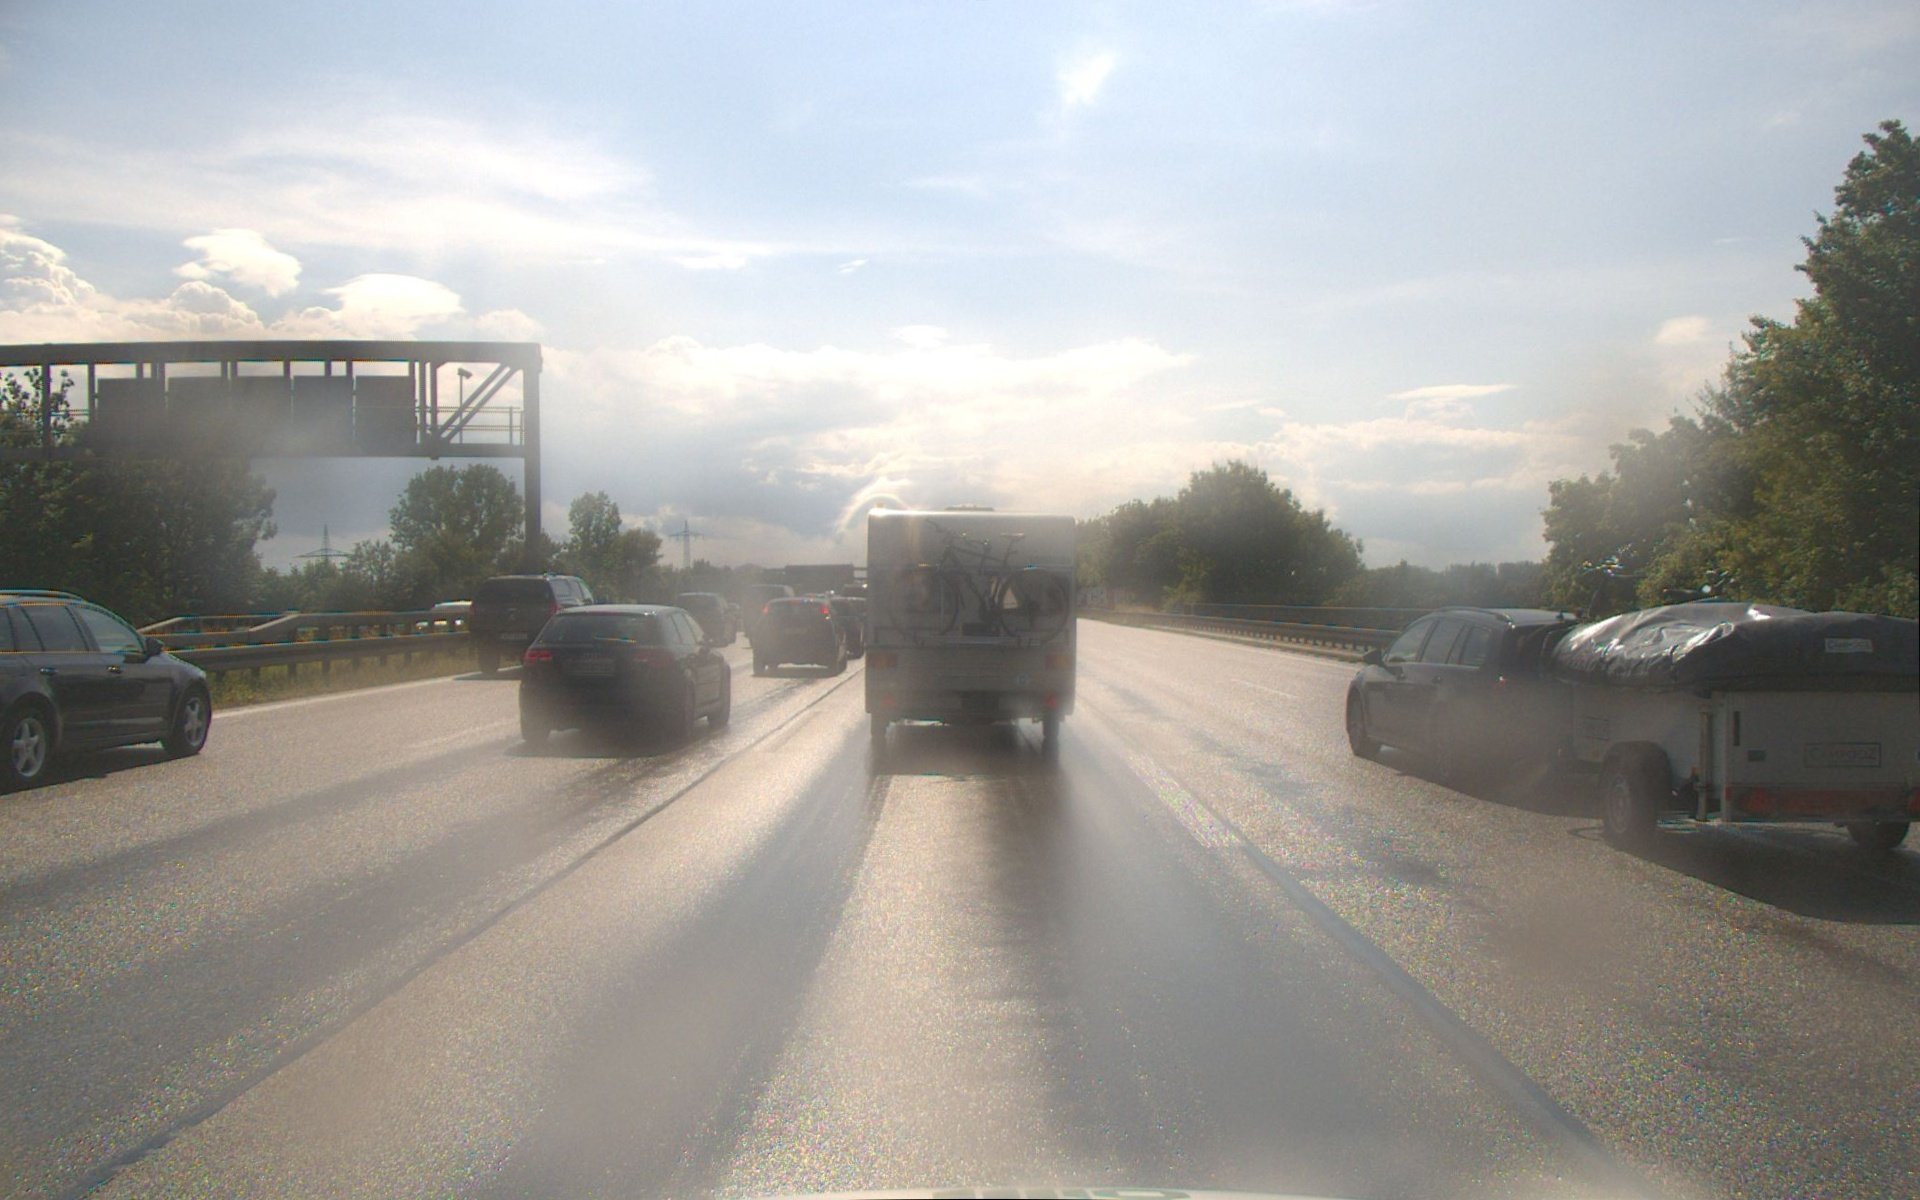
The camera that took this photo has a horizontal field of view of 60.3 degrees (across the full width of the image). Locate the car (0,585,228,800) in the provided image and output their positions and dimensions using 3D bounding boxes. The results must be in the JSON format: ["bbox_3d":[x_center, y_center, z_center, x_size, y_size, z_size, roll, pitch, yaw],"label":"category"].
[{"bbox_3d":[-7.750,0.661,13.408,1.721,1.543,4.209,0,0,0],"label":"car"}]

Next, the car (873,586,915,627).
[{"bbox_3d":[-3.387,0.322,85.548,1.952,2.049,4.000,1,0,0],"label":"car"}]

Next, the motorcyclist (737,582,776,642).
[{"bbox_3d":[-6.039,0.354,49.114,1.042,1.748,0.785,0,0,0],"label":"motorcyclist"}]

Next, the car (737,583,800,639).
[{"bbox_3d":[-7.708,0.429,66.860,1.953,2.048,4.000,4,0,0],"label":"car"}]

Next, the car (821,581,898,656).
[{"bbox_3d":[-3.002,0.532,50.153,1.953,2.048,4.000,4,0,0],"label":"car"}]

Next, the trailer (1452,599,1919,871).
[{"bbox_3d":[4.824,0.733,11.042,1.817,1.467,4.147,0,0,-1],"label":"trailer"}]

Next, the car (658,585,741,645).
[{"bbox_3d":[-8.245,0.475,52.655,1.952,1.803,4.000,1,0,0],"label":"car"}]

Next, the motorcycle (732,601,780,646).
[{"bbox_3d":[-6.043,0.693,49.136,1.052,1.293,2.690,0,0,0],"label":"motorcycle"}]

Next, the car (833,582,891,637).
[{"bbox_3d":[-3.786,0.358,64.711,1.953,2.049,4.000,2,0,0],"label":"car"}]

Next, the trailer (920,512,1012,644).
[{"bbox_3d":[0.327,-0.699,57.564,2.944,4.239,8.537,1,0,2],"label":"trailer"}]

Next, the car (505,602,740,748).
[{"bbox_3d":[-3.550,0.728,18.079,1.721,1.411,3.945,0,0,0],"label":"car"}]

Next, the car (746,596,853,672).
[{"bbox_3d":[-3.184,0.657,33.490,1.769,1.432,4.000,1,0,0],"label":"car"}]

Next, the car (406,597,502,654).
[{"bbox_3d":[-15.847,0.761,51.977,1.954,1.736,4.152,0,0,-3],"label":"car"}]

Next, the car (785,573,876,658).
[{"bbox_3d":[-3.267,0.387,42.338,1.952,2.049,4.000,1,0,0],"label":"car"}]

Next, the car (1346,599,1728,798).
[{"bbox_3d":[4.789,0.731,14.421,1.817,1.467,4.257,0,0,-1],"label":"car"}]

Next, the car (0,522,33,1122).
[{"bbox_3d":[-3.661,0.615,2.591,1.953,1.690,4.405,0,0,-1],"label":"car"}]

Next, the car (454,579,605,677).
[{"bbox_3d":[-8.256,0.512,32.047,1.953,1.750,3.998,1,0,-2],"label":"car"}]

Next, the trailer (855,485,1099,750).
[{"bbox_3d":[0.140,0.183,19.228,2.326,2.527,6.522,1,0,-1],"label":"trailer"}]
